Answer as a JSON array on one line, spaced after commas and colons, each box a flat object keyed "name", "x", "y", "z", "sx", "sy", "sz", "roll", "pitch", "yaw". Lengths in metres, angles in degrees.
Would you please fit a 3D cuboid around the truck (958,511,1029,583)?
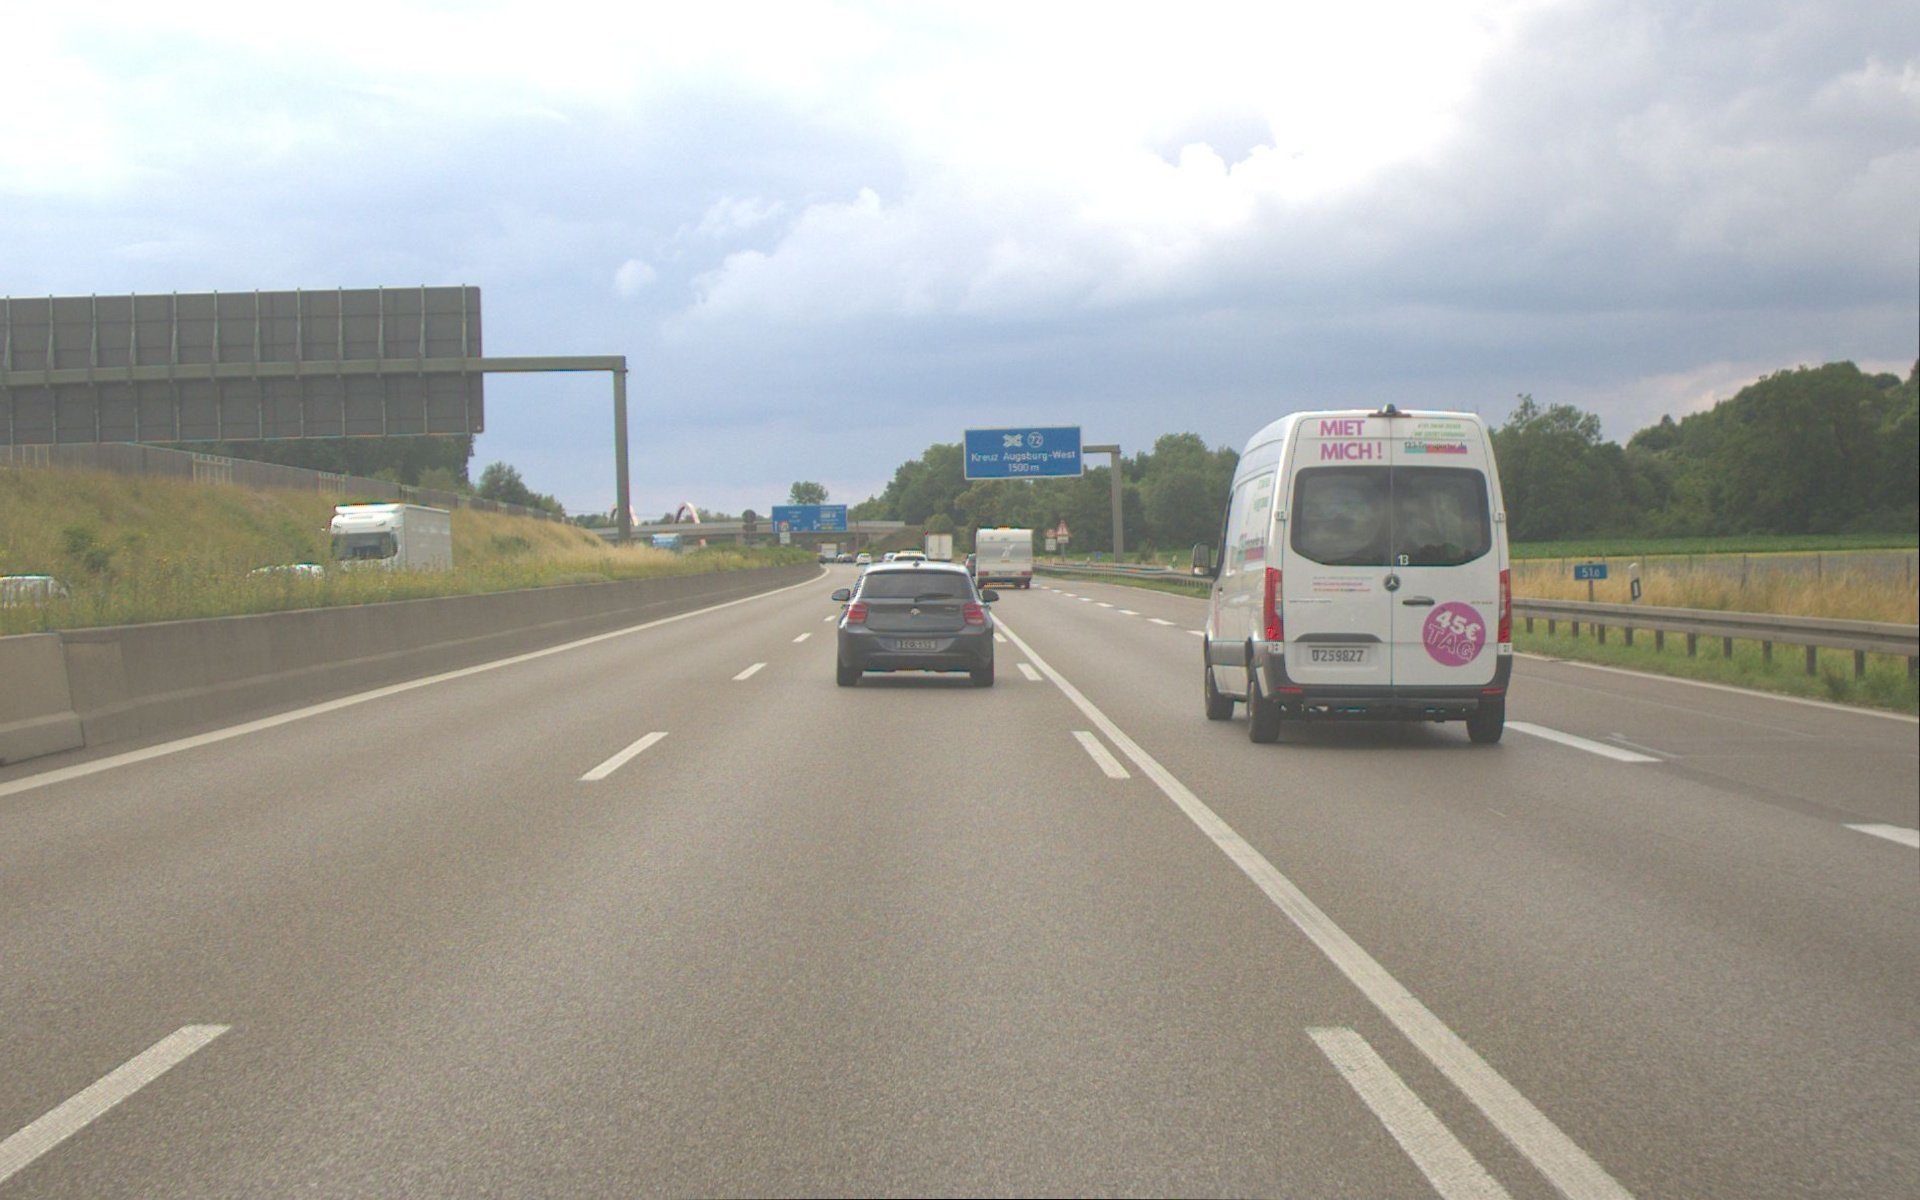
[{"name": "truck", "x": 1.372, "y": -2.285, "z": 148.110, "sx": 2.710, "sy": 2.954, "sz": 12.448, "roll": 1, "pitch": 1, "yaw": -1}]

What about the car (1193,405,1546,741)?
[{"name": "car", "x": 3.341, "y": -0.266, "z": 29.378, "sx": 2.221, "sy": 2.559, "sz": 6.256, "roll": 0, "pitch": 1, "yaw": 0}]

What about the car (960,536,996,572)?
[{"name": "car", "x": 1.028, "y": -2.674, "z": 199.036, "sx": 1.993, "sy": 2.007, "sz": 4.000, "roll": 1, "pitch": 1, "yaw": -1}]

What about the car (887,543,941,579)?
[{"name": "car", "x": -1.766, "y": -1.492, "z": 131.639, "sx": 1.993, "sy": 1.293, "sz": 4.000, "roll": -1, "pitch": 1, "yaw": -1}]

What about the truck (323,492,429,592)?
[{"name": "truck", "x": -22.323, "y": -2.222, "z": 131.742, "sx": 2.726, "sy": 3.665, "sz": 7.490, "roll": -2, "pitch": 1, "yaw": 0}]

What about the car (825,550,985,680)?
[{"name": "car", "x": -0.616, "y": 0.139, "z": 39.614, "sx": 1.743, "sy": 1.384, "sz": 4.000, "roll": 0, "pitch": 1, "yaw": 0}]
